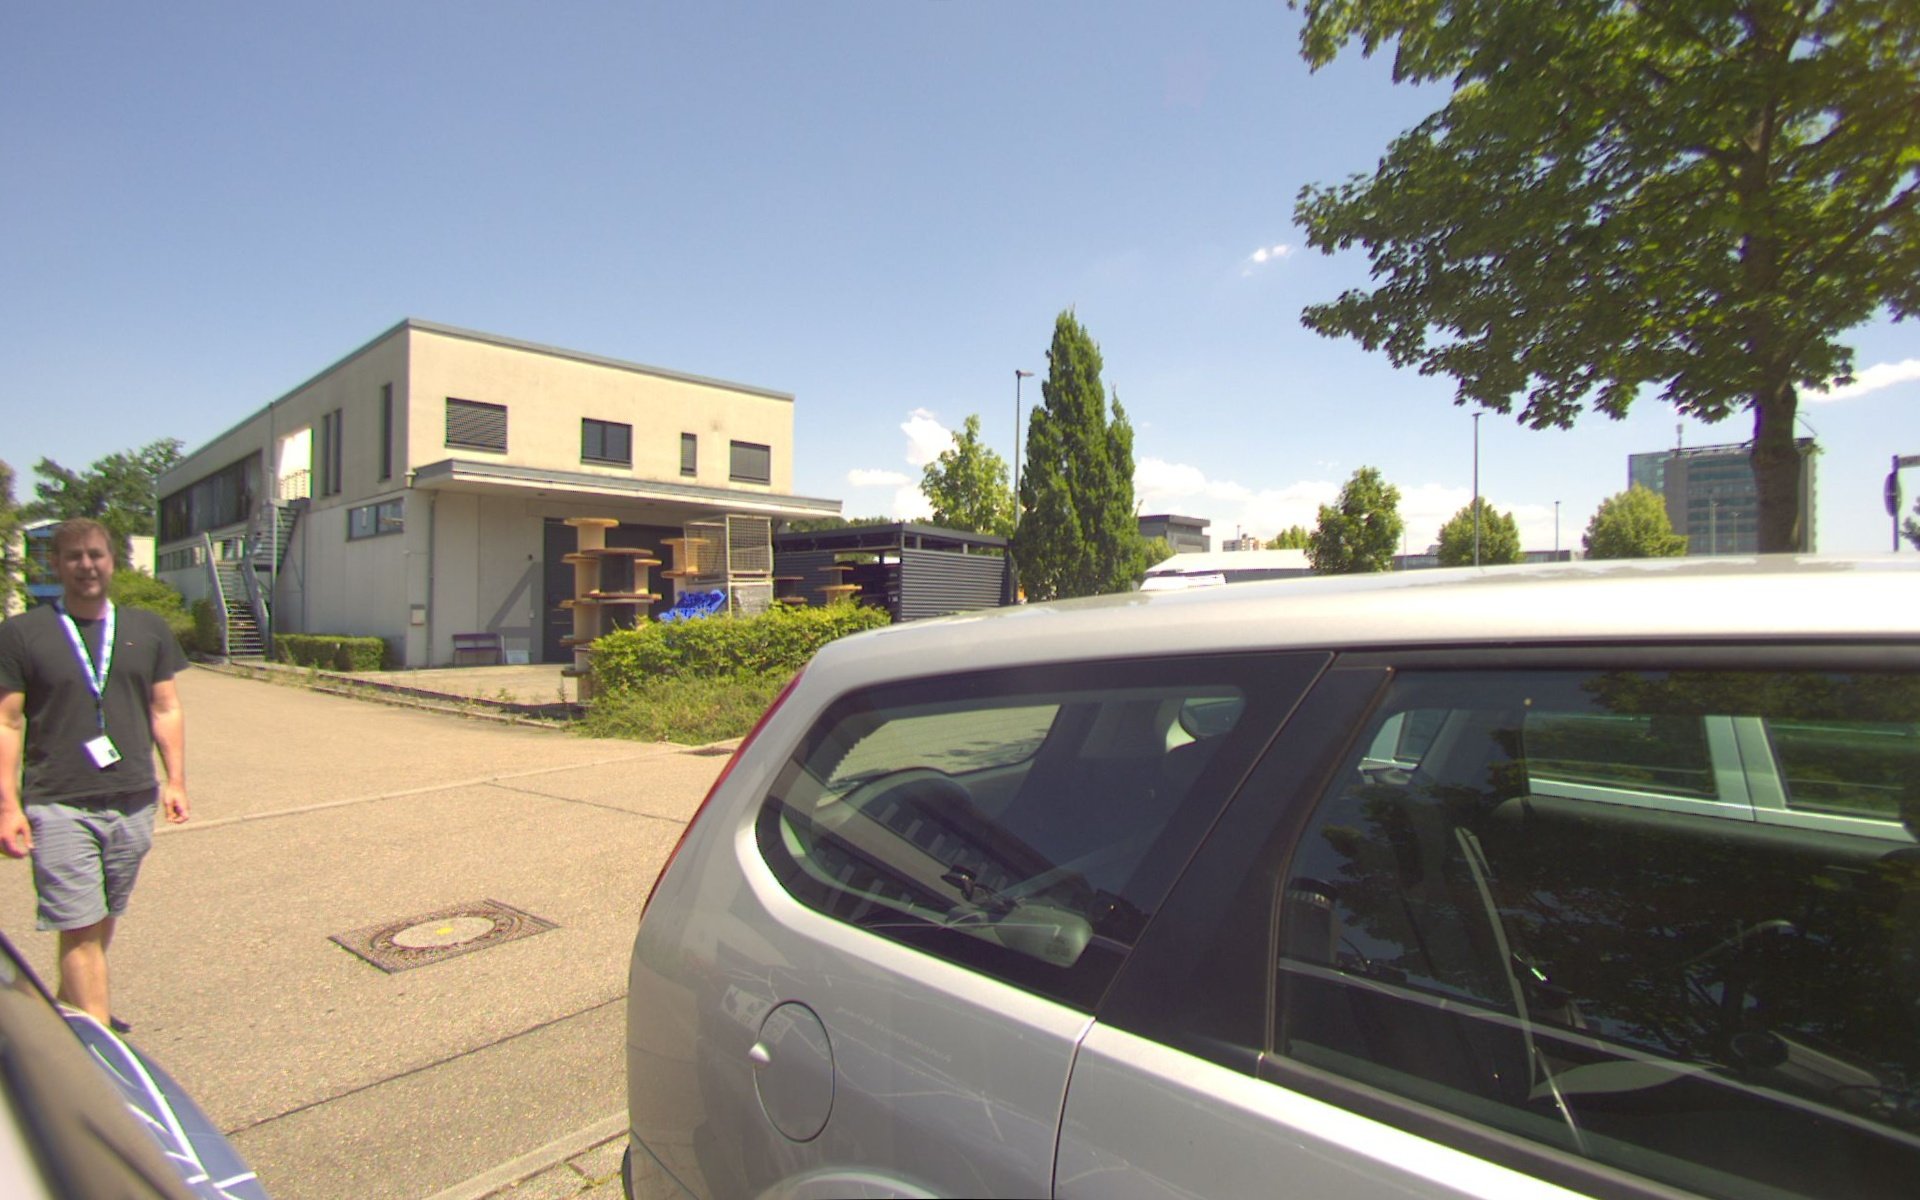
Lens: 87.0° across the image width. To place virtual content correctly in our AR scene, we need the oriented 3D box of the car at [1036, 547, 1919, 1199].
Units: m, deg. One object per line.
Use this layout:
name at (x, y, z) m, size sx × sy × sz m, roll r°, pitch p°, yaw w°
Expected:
car at (2.310, 0.630, 3.058) m, size 3.885 × 1.490 × 1.632 m, roll -1°, pitch 0°, yaw 37°

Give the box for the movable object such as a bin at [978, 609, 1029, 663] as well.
movable object such as a bin at (1.108, 0.916, 25.999) m, size 1.056 × 1.346 × 0.761 m, roll -1°, pitch -1°, yaw -41°

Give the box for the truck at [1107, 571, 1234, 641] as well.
truck at (8.747, 0.224, 41.663) m, size 2.420 × 2.692 × 5.615 m, roll -2°, pitch -1°, yaw 44°

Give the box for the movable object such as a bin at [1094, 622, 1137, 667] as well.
movable object such as a bin at (3.536, 1.005, 23.068) m, size 0.581 × 0.977 × 0.761 m, roll -1°, pitch -1°, yaw -41°

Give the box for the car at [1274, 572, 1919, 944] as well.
car at (3.758, 0.626, 5.008) m, size 3.885 × 1.459 × 1.632 m, roll -1°, pitch 0°, yaw 37°

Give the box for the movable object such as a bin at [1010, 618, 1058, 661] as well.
movable object such as a bin at (1.953, 1.030, 26.691) m, size 0.973 × 1.092 × 0.761 m, roll -1°, pitch 0°, yaw -41°

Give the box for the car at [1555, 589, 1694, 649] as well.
car at (18.326, 0.487, 27.875) m, size 3.932 × 1.533 × 1.658 m, roll -1°, pitch 0°, yaw -32°

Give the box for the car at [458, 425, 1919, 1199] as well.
car at (1.387, 0.638, 0.925) m, size 4.345 × 1.490 × 1.702 m, roll -1°, pitch -1°, yaw 40°

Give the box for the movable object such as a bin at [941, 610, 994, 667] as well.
movable object such as a bin at (0.180, 0.935, 25.042) m, size 1.056 × 1.346 × 0.761 m, roll -1°, pitch -1°, yaw -41°

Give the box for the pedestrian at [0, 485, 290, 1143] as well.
pedestrian at (-2.851, 0.601, 3.331) m, size 0.904 × 1.834 × 0.849 m, roll -2°, pitch -1°, yaw 40°

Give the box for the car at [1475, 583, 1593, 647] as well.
car at (17.104, 0.410, 30.072) m, size 3.937 × 1.751 × 1.775 m, roll -1°, pitch 0°, yaw -40°

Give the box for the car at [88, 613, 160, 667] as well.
car at (-30.435, 1.412, 36.810) m, size 1.762 × 1.817 × 4.004 m, roll -1°, pitch 0°, yaw -43°

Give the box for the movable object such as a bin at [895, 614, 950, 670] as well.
movable object such as a bin at (-0.888, 0.999, 24.250) m, size 1.056 × 1.280 × 0.761 m, roll -1°, pitch -1°, yaw -41°

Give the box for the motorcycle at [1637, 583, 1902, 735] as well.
motorcycle at (7.987, 0.564, 10.098) m, size 1.986 × 1.400 × 0.478 m, roll -2°, pitch -1°, yaw 37°
